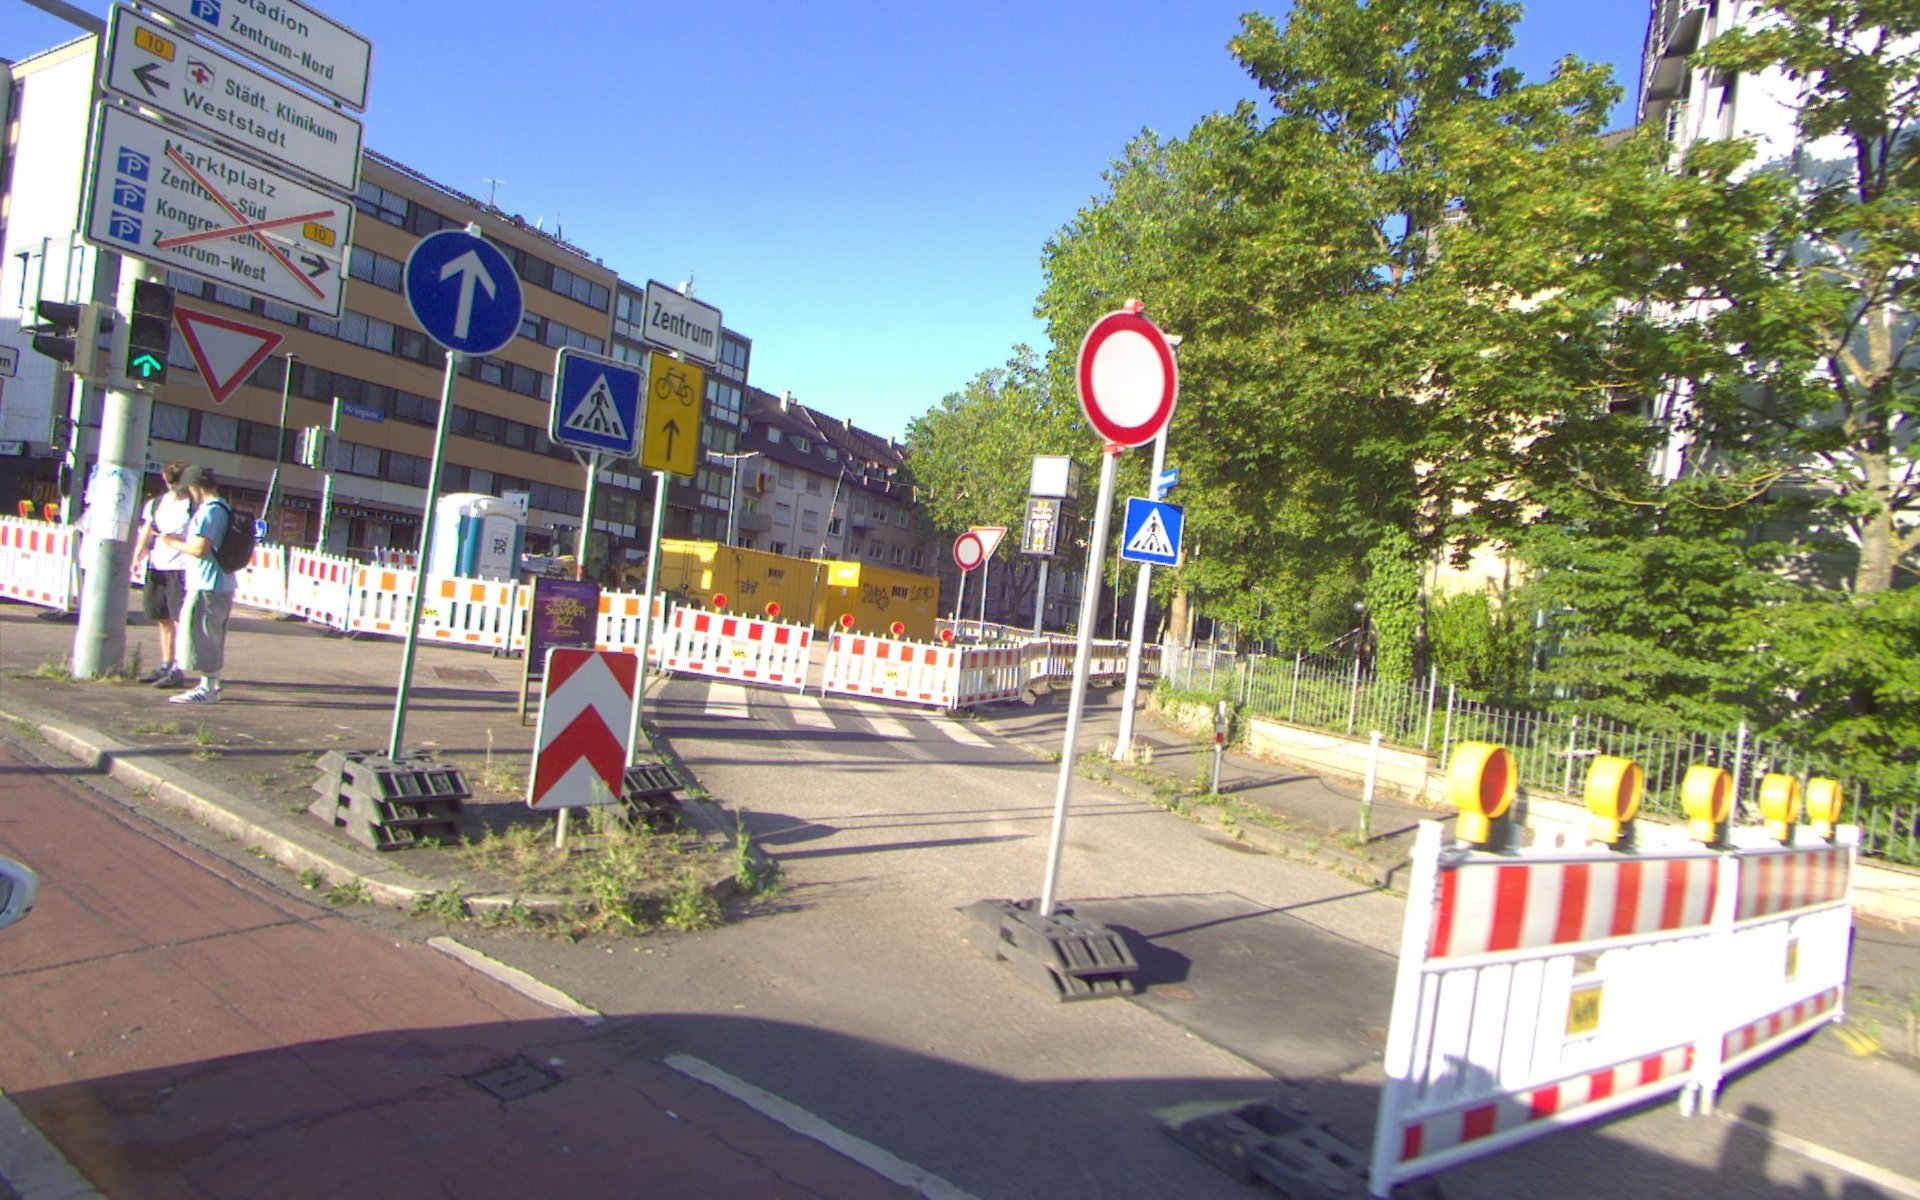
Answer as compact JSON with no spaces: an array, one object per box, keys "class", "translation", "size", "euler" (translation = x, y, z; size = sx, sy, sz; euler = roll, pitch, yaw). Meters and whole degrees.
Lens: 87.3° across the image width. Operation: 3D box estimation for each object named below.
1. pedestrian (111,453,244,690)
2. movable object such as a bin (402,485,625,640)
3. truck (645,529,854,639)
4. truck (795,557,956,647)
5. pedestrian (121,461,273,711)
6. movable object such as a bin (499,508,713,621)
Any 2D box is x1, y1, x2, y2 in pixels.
[{"class":"pedestrian","translation":[-6.578,-0.231,8.464],"size":[0.604,1.891,0.522],"euler":[7,0,26]},{"class":"movable object such as a bin","translation":[-8.157,-0.610,18.632],"size":[1.503,2.412,3.333],"euler":[6,-1,31]},{"class":"truck","translation":[-7.045,-0.422,34.923],"size":[2.759,2.933,7.348],"euler":[7,-1,28]},{"class":"truck","translation":[-3.325,0.197,41.823],"size":[2.760,2.933,7.347],"euler":[7,-1,29]},{"class":"pedestrian","translation":[-5.973,-0.099,7.925],"size":[0.736,1.821,0.709],"euler":[6,0,-32]},{"class":"movable object such as a bin","translation":[-10.106,-0.935,29.203],"size":[2.505,2.520,5.360],"euler":[6,-1,29]}]
